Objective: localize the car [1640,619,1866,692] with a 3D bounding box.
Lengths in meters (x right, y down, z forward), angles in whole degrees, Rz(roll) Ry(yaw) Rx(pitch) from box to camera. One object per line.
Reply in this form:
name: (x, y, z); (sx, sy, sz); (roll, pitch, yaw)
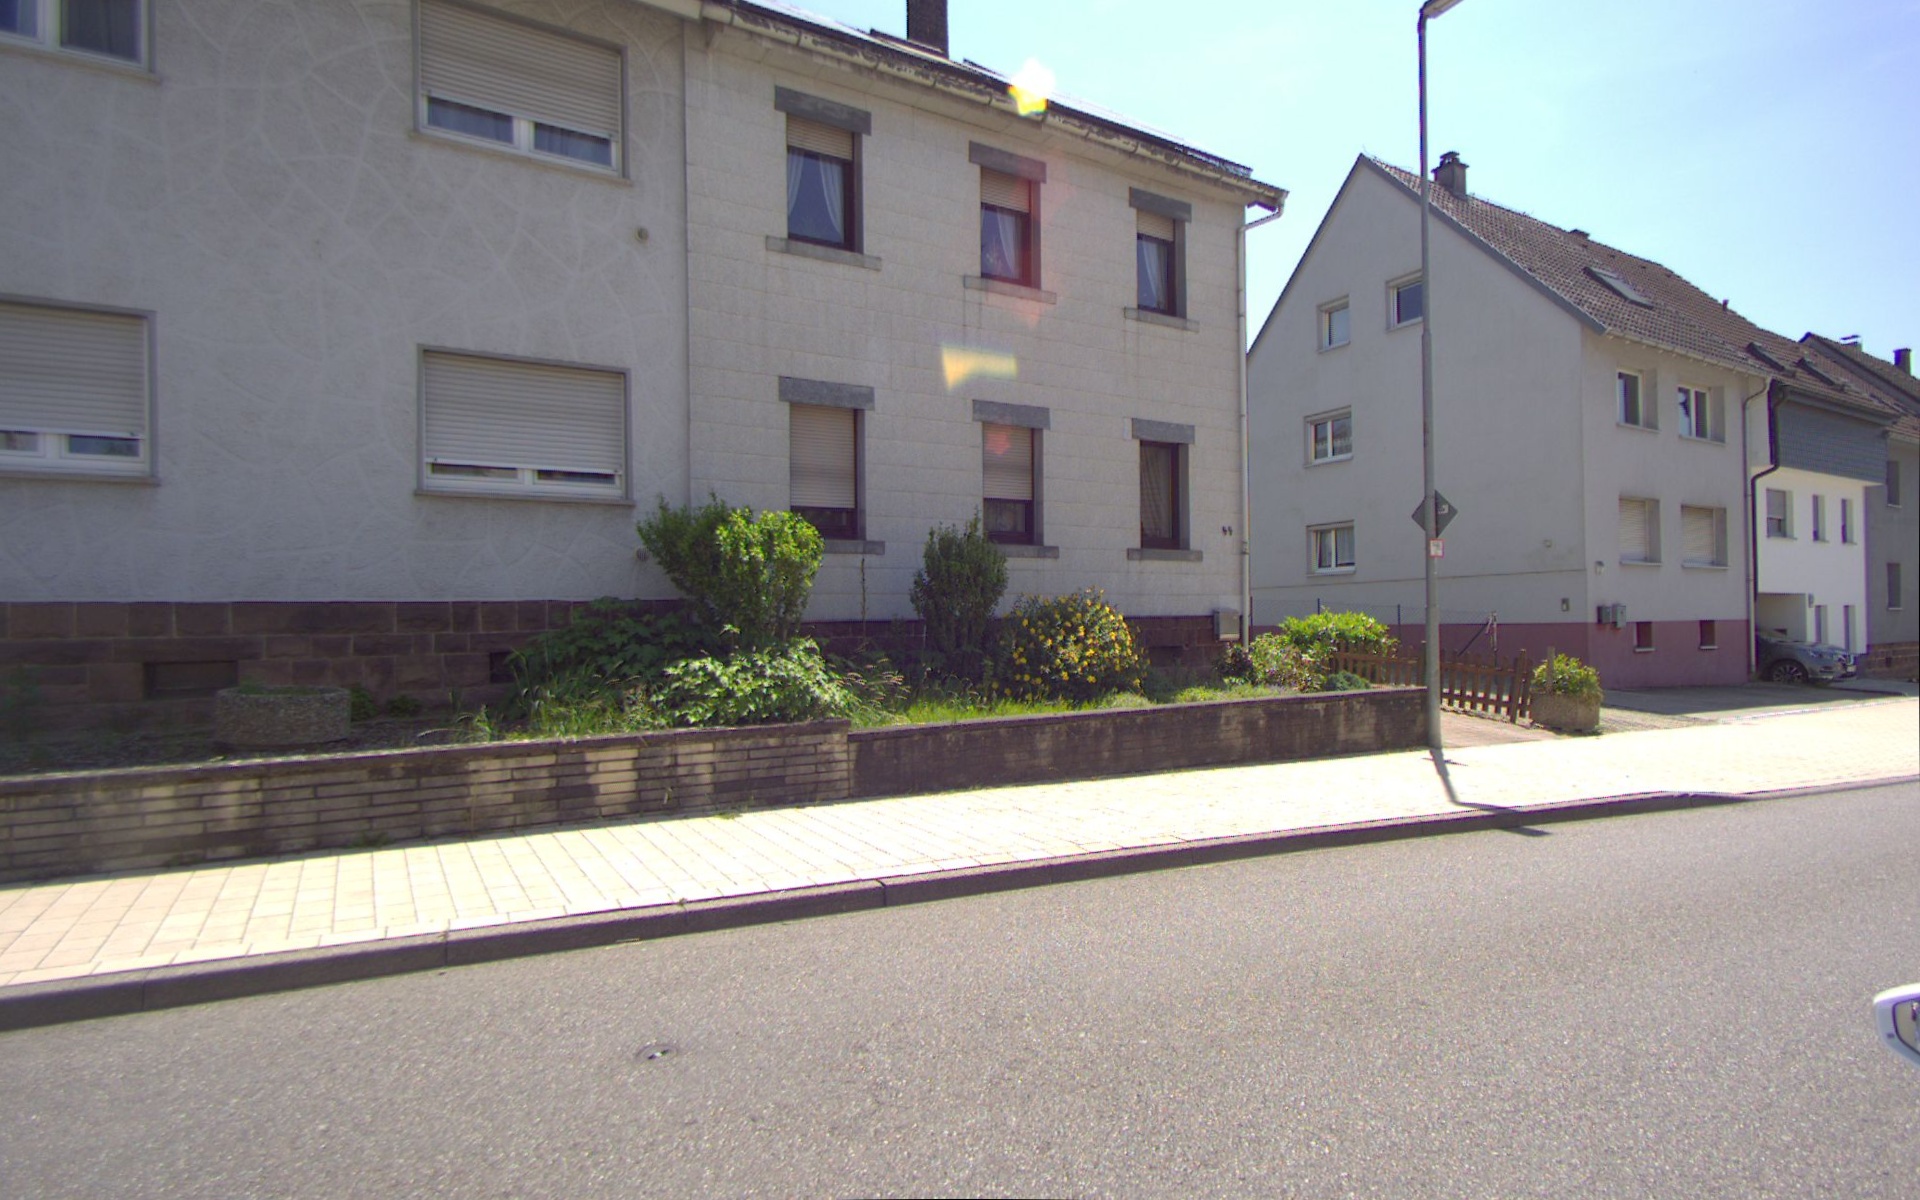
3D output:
car: (19.159, 1.284, 24.444); (1.811, 1.566, 3.967); (1, -1, -31)
